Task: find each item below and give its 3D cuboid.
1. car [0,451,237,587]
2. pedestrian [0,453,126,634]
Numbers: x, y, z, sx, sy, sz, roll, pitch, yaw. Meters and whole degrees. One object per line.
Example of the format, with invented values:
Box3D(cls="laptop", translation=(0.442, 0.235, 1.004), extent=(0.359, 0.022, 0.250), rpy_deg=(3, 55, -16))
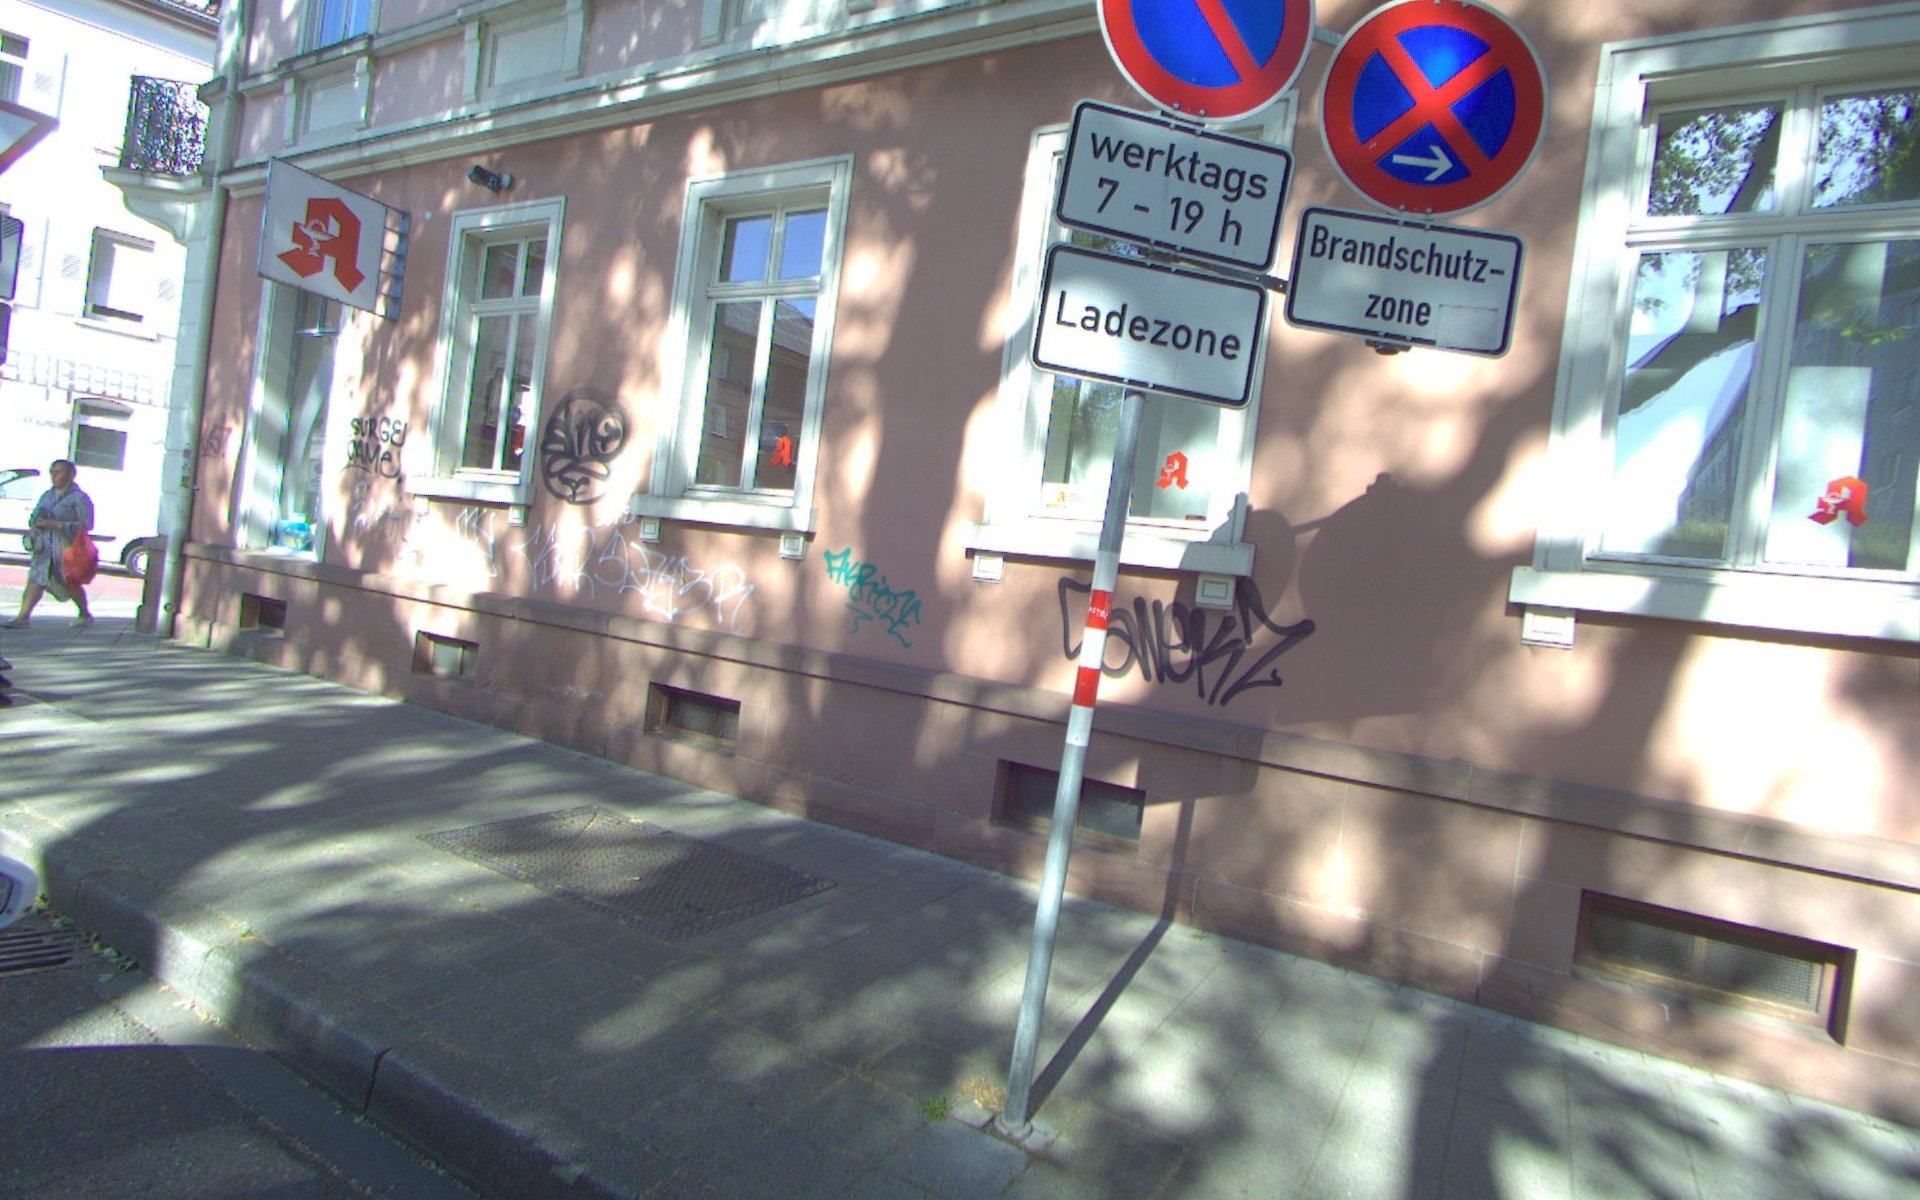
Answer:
Box3D(cls="car", translation=(-16.802, -1.593, 18.925), extent=(4.980, 1.969, 2.032), rpy_deg=(8, -1, -35))
Box3D(cls="pedestrian", translation=(-8.547, -0.536, 9.452), extent=(0.831, 1.596, 0.844), rpy_deg=(6, 5, 28))
